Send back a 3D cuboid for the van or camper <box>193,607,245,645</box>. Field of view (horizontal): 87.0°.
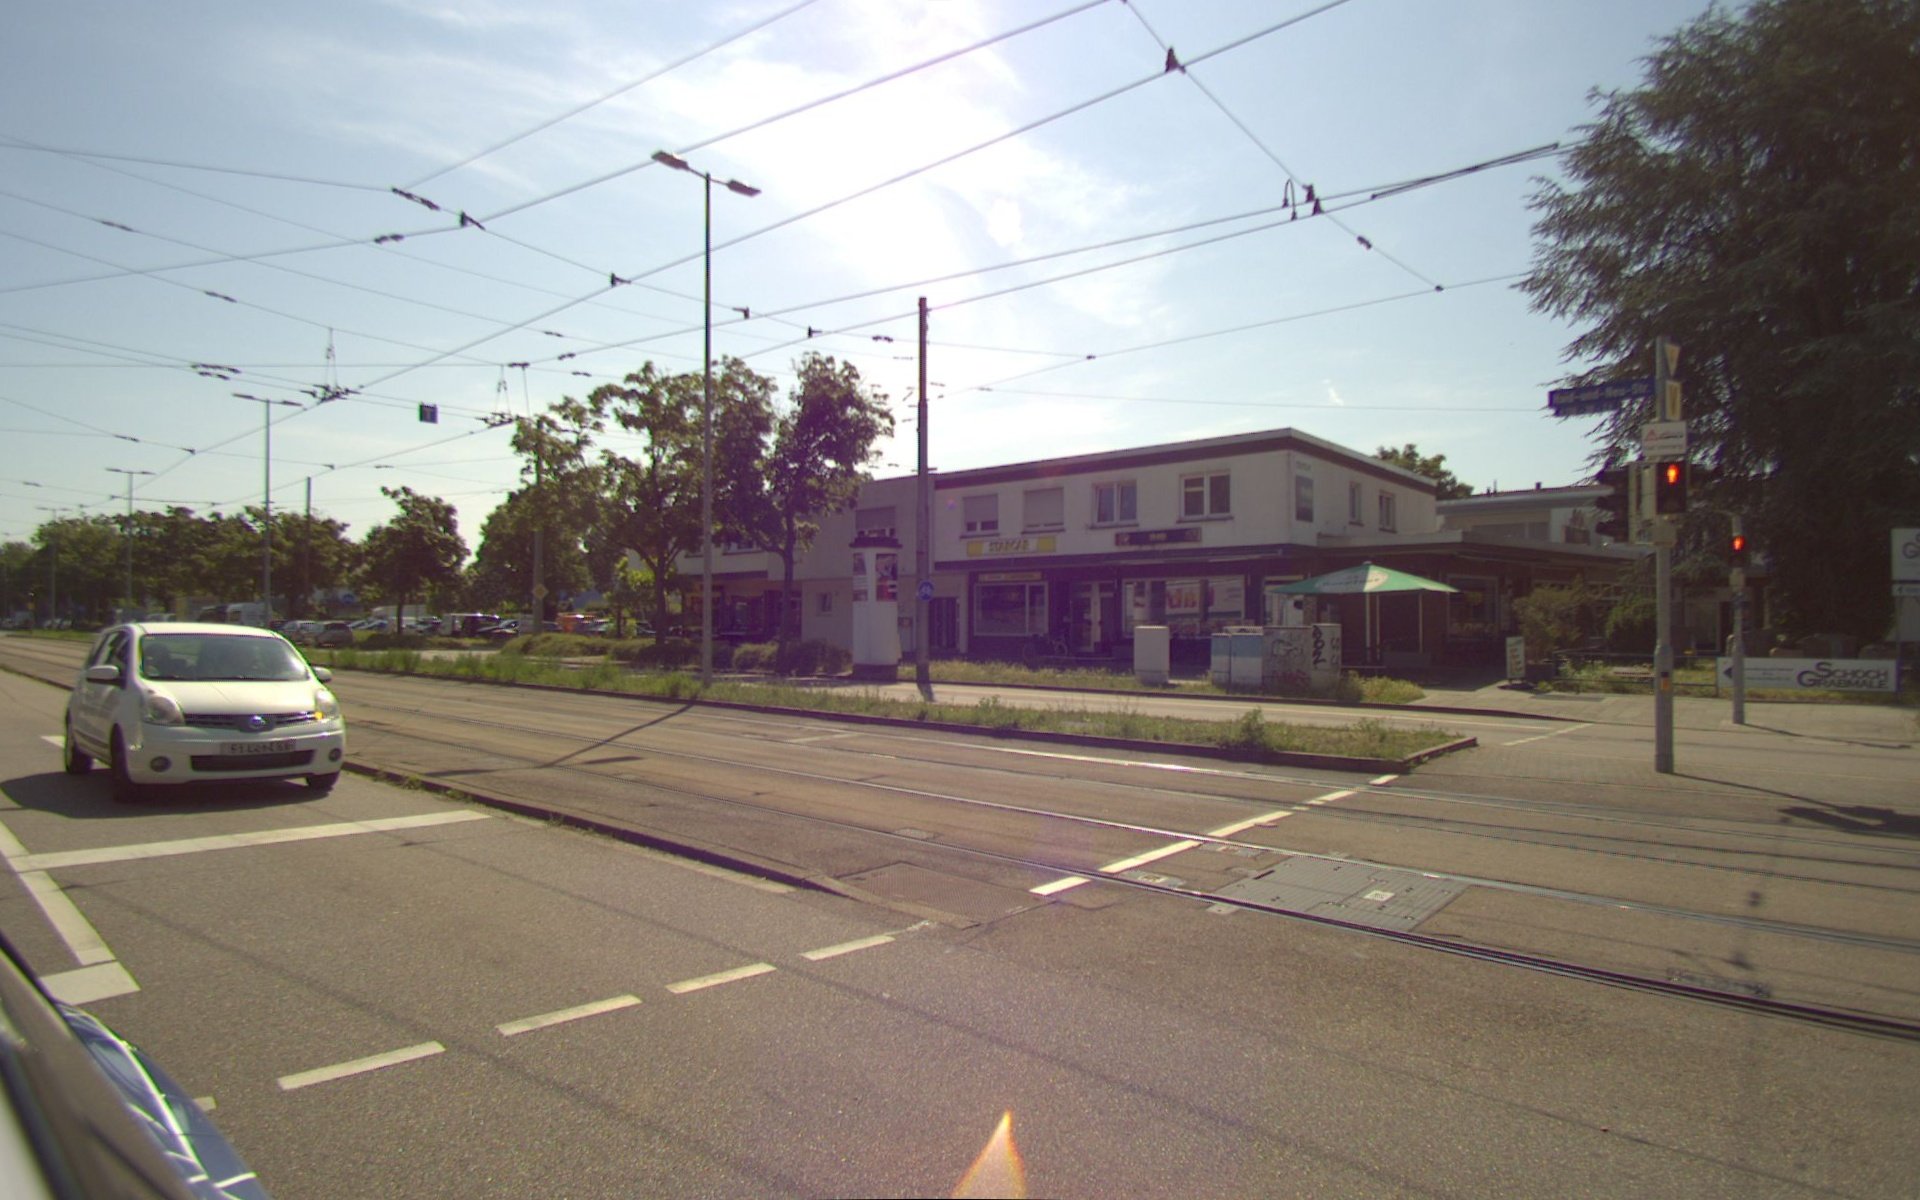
[{"bbox_3d":[-53.601,1.886,73.189,4.837,2.652,2.013,-1,-2,41],"label":"van or camper"}]

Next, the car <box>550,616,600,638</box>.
[{"bbox_3d":[-32.384,2.297,85.232,1.711,1.791,3.578,-1,-2,40],"label":"car"}]

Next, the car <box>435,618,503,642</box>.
[{"bbox_3d":[-33.364,2.068,68.843,1.949,1.581,3.702,-1,-2,40],"label":"car"}]

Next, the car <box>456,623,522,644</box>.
[{"bbox_3d":[-31.356,2.237,67.387,1.711,1.372,3.578,-1,-2,40],"label":"car"}]

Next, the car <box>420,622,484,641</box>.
[{"bbox_3d":[-35.221,2.170,70.243,1.711,1.294,3.578,-1,-2,40],"label":"car"}]

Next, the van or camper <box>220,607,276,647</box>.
[{"bbox_3d":[-48.271,1.820,68.570,4.837,2.652,2.013,-1,-2,41],"label":"van or camper"}]

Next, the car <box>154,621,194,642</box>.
[{"bbox_3d":[-65.643,2.599,84.462,4.230,1.747,1.868,-1,-2,41],"label":"car"}]

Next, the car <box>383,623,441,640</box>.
[{"bbox_3d":[-42.464,2.471,78.461,1.711,1.291,3.578,-1,-2,40],"label":"car"}]

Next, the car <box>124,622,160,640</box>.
[{"bbox_3d":[-75.276,2.850,93.090,4.230,1.572,1.868,-1,-2,41],"label":"car"}]

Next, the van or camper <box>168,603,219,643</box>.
[{"bbox_3d":[-59.471,1.789,78.469,5.279,3.008,2.100,-1,-2,41],"label":"van or camper"}]

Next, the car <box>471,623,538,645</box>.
[{"bbox_3d":[-29.429,2.201,65.424,1.711,1.372,3.578,-1,-2,40],"label":"car"}]

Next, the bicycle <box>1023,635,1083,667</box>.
[{"bbox_3d":[3.052,1.671,33.427,1.910,0.990,0.750,-1,-2,42],"label":"bicycle"}]

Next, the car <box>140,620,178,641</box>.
[{"bbox_3d":[-70.674,2.708,89.244,4.230,1.781,1.868,-1,-2,41],"label":"car"}]

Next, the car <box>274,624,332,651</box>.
[{"bbox_3d":[-40.033,2.257,61.609,4.283,1.572,1.868,-1,-2,41],"label":"car"}]

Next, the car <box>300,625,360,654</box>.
[{"bbox_3d":[-36.152,2.248,58.056,4.285,1.506,1.867,-1,0,43],"label":"car"}]

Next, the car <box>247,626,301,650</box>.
[{"bbox_3d":[-44.283,2.422,65.276,4.230,1.506,1.868,-1,-2,41],"label":"car"}]

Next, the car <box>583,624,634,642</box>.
[{"bbox_3d":[-28.472,2.663,81.992,1.711,1.372,3.578,-1,-2,40],"label":"car"}]

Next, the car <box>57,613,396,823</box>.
[{"bbox_3d":[-7.092,0.955,9.632,4.066,1.573,1.747,-1,-3,42],"label":"car"}]

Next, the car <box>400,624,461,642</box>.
[{"bbox_3d":[-38.973,2.390,74.533,1.811,1.291,3.578,-1,-2,40],"label":"car"}]

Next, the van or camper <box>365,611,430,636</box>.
[{"bbox_3d":[-63.487,2.637,114.336,2.300,2.751,5.999,-1,-2,43],"label":"van or camper"}]

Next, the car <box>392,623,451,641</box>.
[{"bbox_3d":[-40.630,2.430,76.383,1.711,1.291,3.578,-1,-2,40],"label":"car"}]

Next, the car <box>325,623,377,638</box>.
[{"bbox_3d":[-53.032,2.625,88.169,1.711,1.291,3.578,-1,-2,40],"label":"car"}]

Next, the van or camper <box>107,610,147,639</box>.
[{"bbox_3d":[-80.090,2.359,97.305,5.451,2.639,2.086,-1,-3,42],"label":"van or camper"}]
